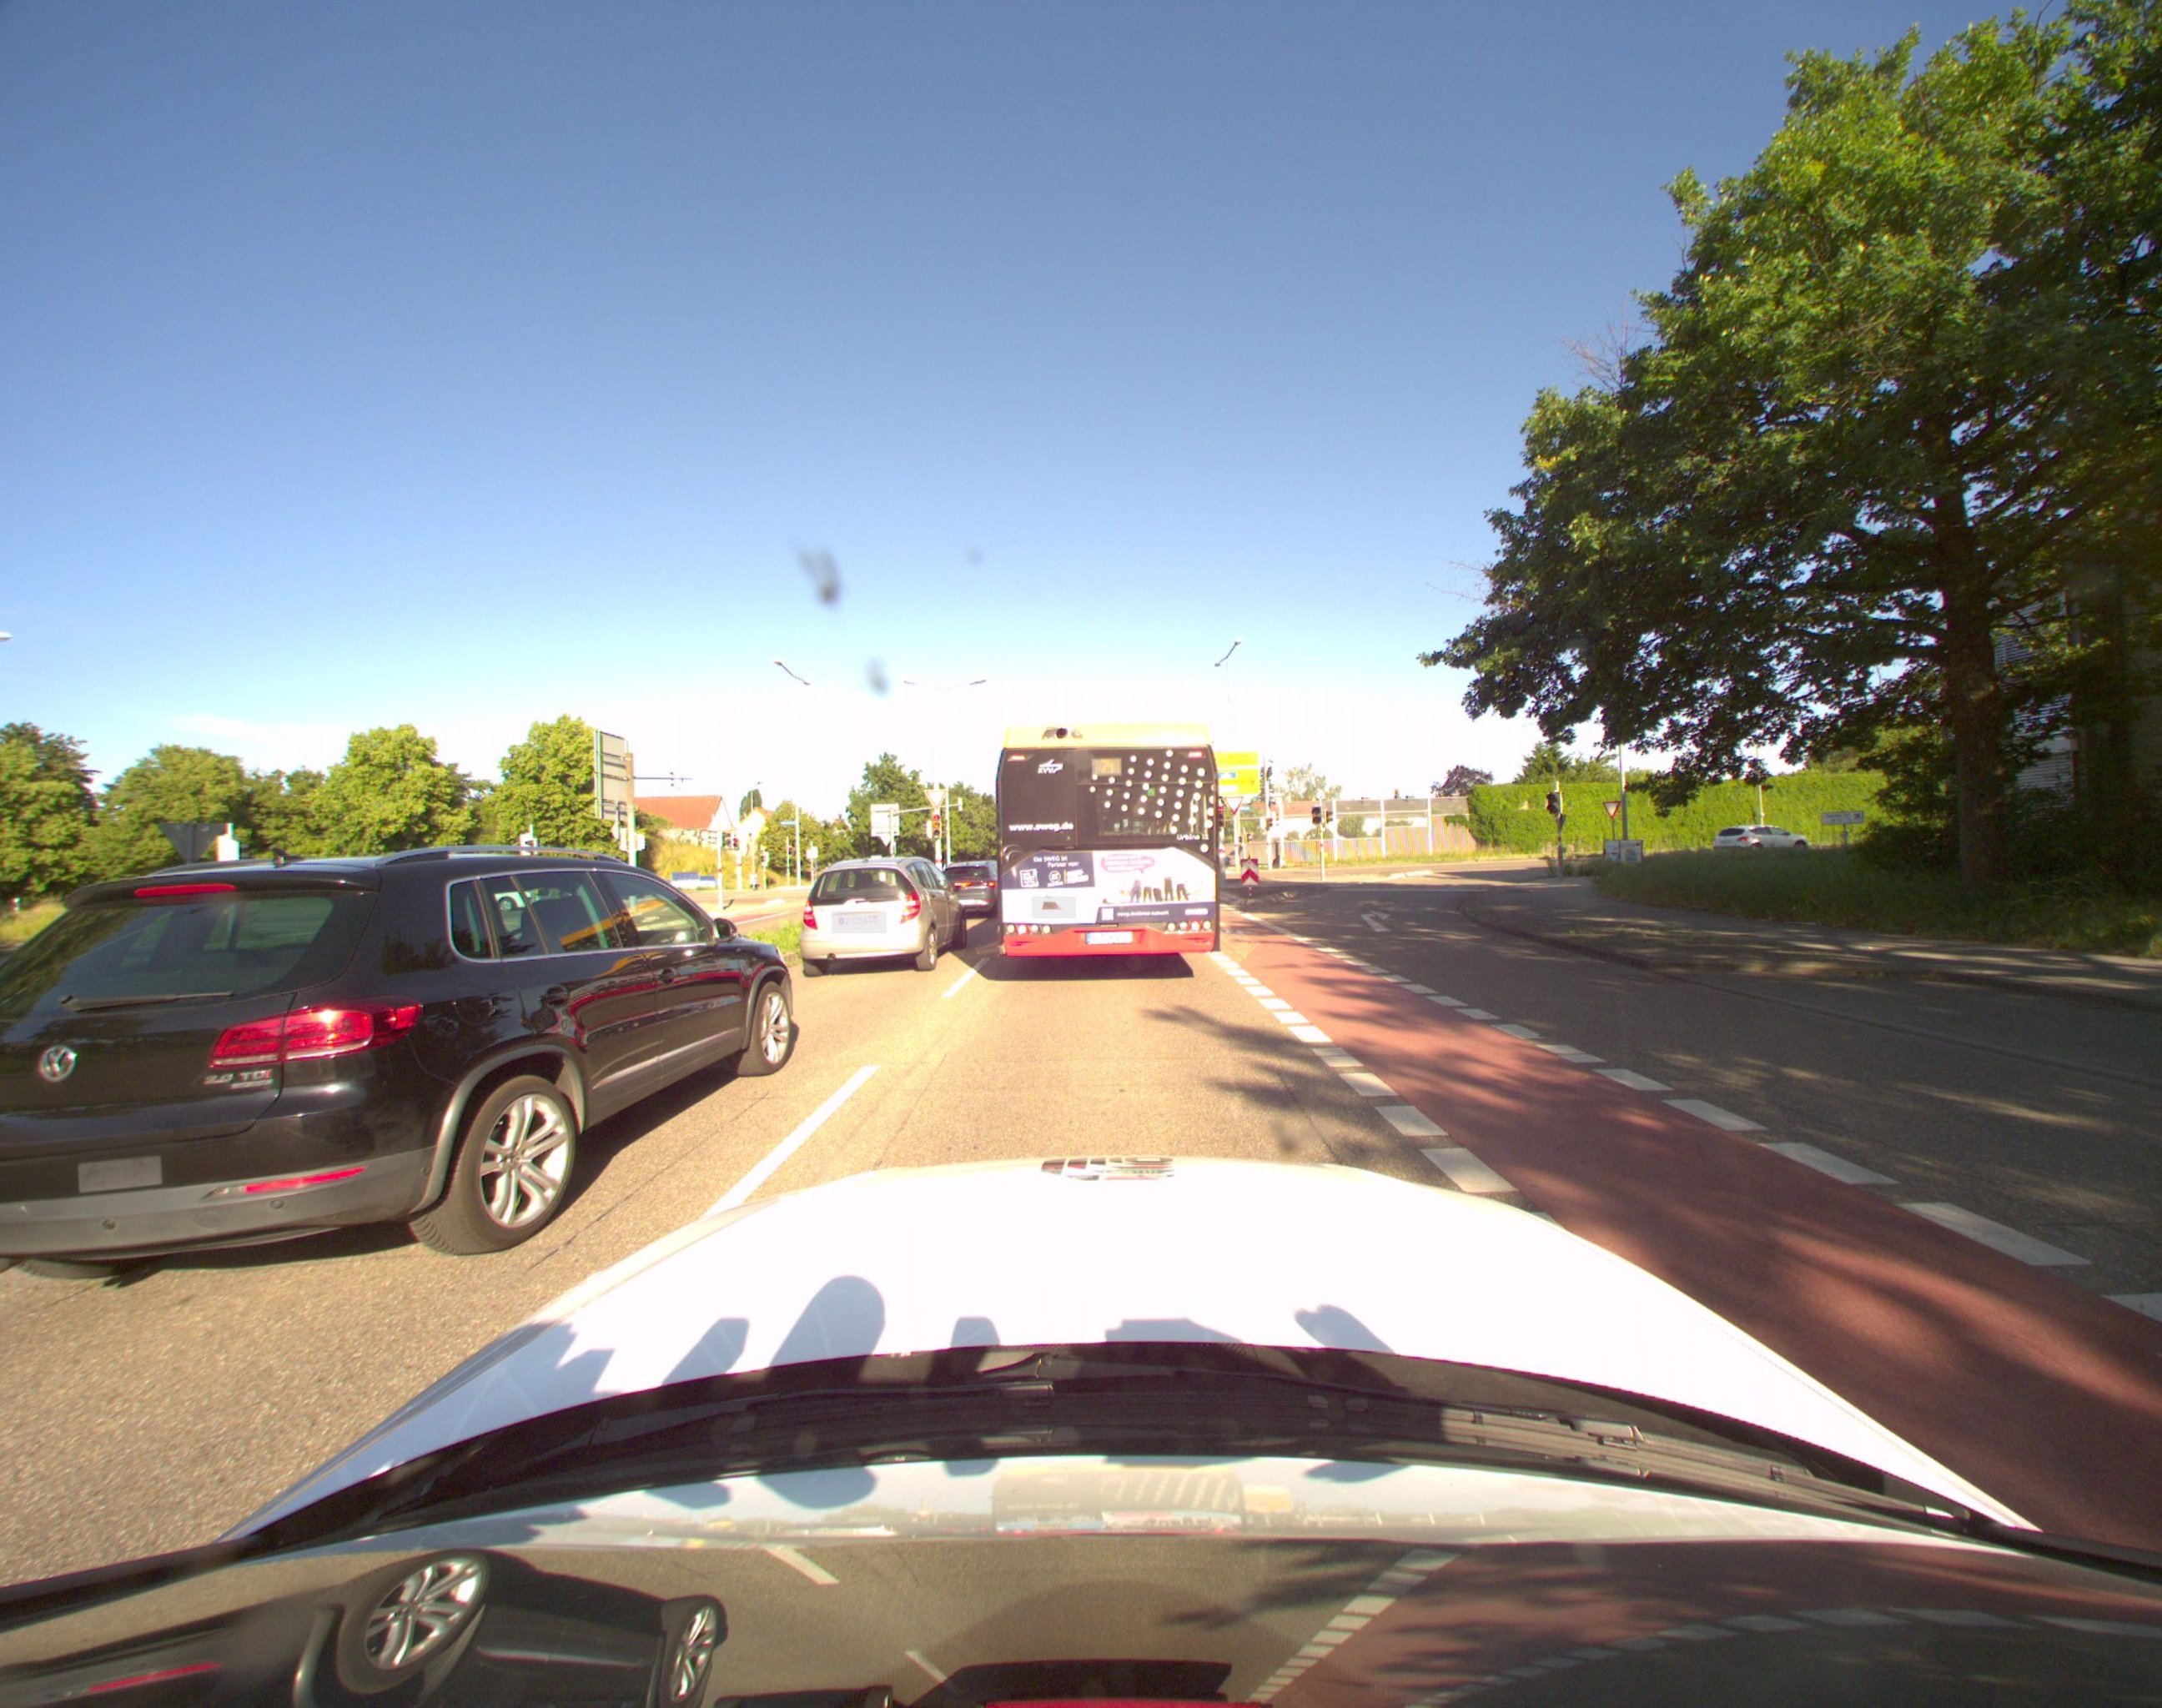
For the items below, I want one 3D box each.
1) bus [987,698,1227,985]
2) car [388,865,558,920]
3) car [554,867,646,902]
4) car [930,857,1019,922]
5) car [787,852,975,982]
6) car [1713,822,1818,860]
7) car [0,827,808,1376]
[{"bbox_3d":[0.529,-0.168,15.014,2.632,3.167,11.867,-1,0,2],"label":"bus"},{"bbox_3d":[-25.626,1.586,34.494,5.375,2.118,2.178,-1,-1,-4],"label":"car"},{"bbox_3d":[-24.568,1.535,41.666,3.577,1.560,1.747,-2,0,-5],"label":"car"},{"bbox_3d":[-2.683,0.854,21.310,1.686,1.458,3.751,-3,0,1],"label":"car"},{"bbox_3d":[-2.858,0.821,12.583,1.755,1.589,4.001,-3,0,1],"label":"car"},{"bbox_3d":[32.921,-0.614,39.205,4.057,1.607,1.716,-3,1,-12],"label":"car"},{"bbox_3d":[-3.164,0.797,4.550,1.766,1.653,4.001,-3,0,1],"label":"car"}]
